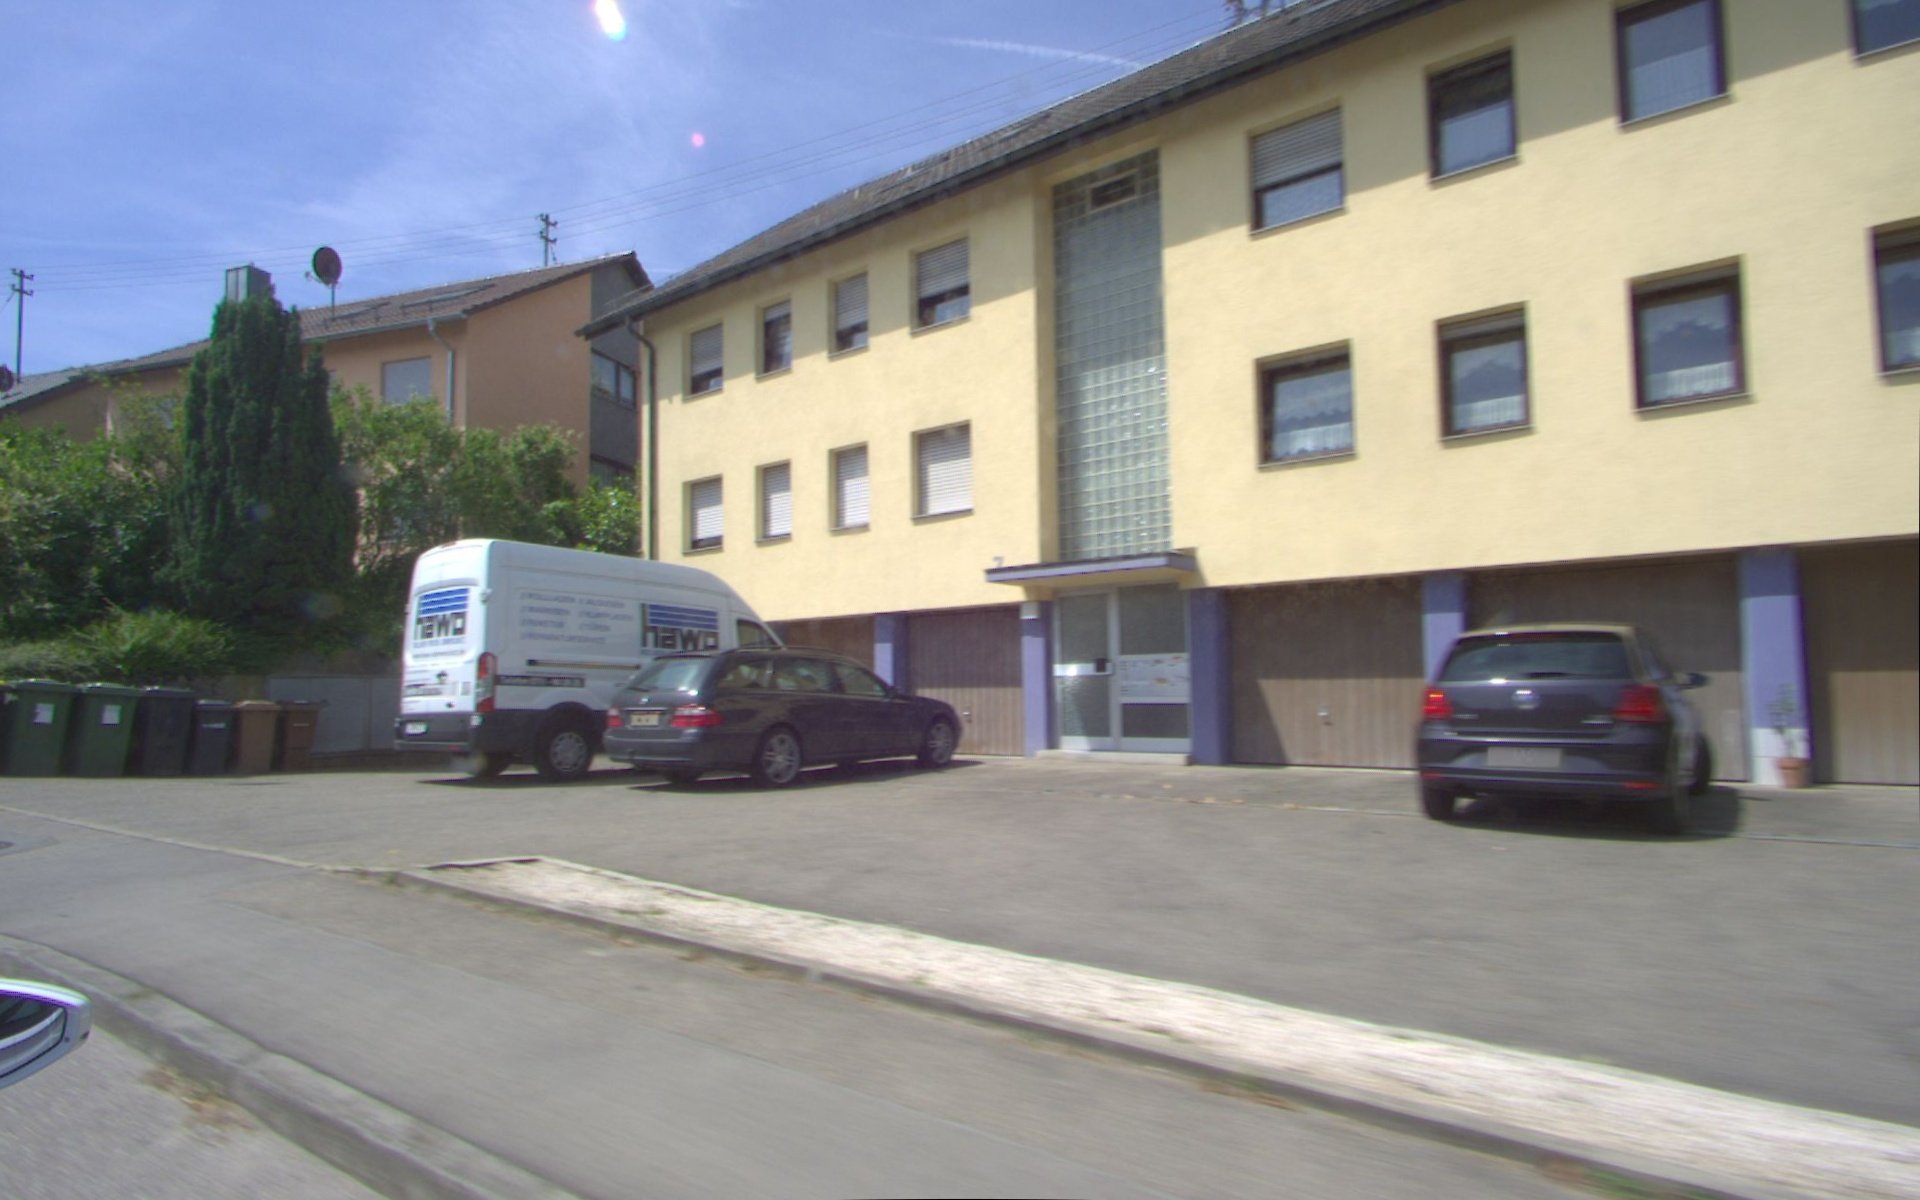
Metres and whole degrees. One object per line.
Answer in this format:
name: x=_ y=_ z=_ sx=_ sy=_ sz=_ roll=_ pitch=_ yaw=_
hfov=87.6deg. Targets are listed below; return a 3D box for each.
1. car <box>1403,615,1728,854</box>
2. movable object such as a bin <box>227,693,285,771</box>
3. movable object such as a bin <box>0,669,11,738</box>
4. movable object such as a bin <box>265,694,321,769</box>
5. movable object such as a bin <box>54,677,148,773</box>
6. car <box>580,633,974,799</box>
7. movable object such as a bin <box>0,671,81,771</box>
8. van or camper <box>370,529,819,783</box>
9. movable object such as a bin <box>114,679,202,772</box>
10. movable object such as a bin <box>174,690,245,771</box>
car: x=4.956 y=0.940 z=7.974 sx=1.626 sy=1.435 sz=3.666 roll=-3 pitch=-5 yaw=40
movable object such as a bin: x=-9.232 y=1.734 z=13.141 sx=0.402 sy=0.983 sz=0.399 roll=0 pitch=-6 yaw=29
movable object such as a bin: x=-10.940 y=1.270 z=10.915 sx=0.756 sy=1.080 sz=0.550 roll=-1 pitch=-8 yaw=29
movable object such as a bin: x=-9.027 y=1.780 z=13.557 sx=0.402 sy=0.983 sz=0.399 roll=0 pitch=-6 yaw=29
movable object such as a bin: x=-10.148 y=1.471 z=11.834 sx=0.663 sy=1.080 sz=0.550 roll=0 pitch=-7 yaw=29
car: x=-1.943 y=1.289 z=12.043 sx=1.884 sy=1.581 sz=4.688 roll=-4 pitch=-5 yaw=35
movable object such as a bin: x=-10.560 y=1.374 z=11.382 sx=0.663 sy=1.080 sz=0.550 roll=-1 pitch=-8 yaw=29
van or camper: x=-4.520 y=0.874 z=13.336 sx=2.256 sy=2.676 sz=5.216 roll=-4 pitch=-7 yaw=36
movable object such as a bin: x=-9.871 y=1.544 z=12.333 sx=0.663 sy=1.080 sz=0.550 roll=0 pitch=-7 yaw=29
movable object such as a bin: x=-9.581 y=1.664 z=12.782 sx=0.541 sy=0.983 sz=0.459 roll=0 pitch=-7 yaw=29
